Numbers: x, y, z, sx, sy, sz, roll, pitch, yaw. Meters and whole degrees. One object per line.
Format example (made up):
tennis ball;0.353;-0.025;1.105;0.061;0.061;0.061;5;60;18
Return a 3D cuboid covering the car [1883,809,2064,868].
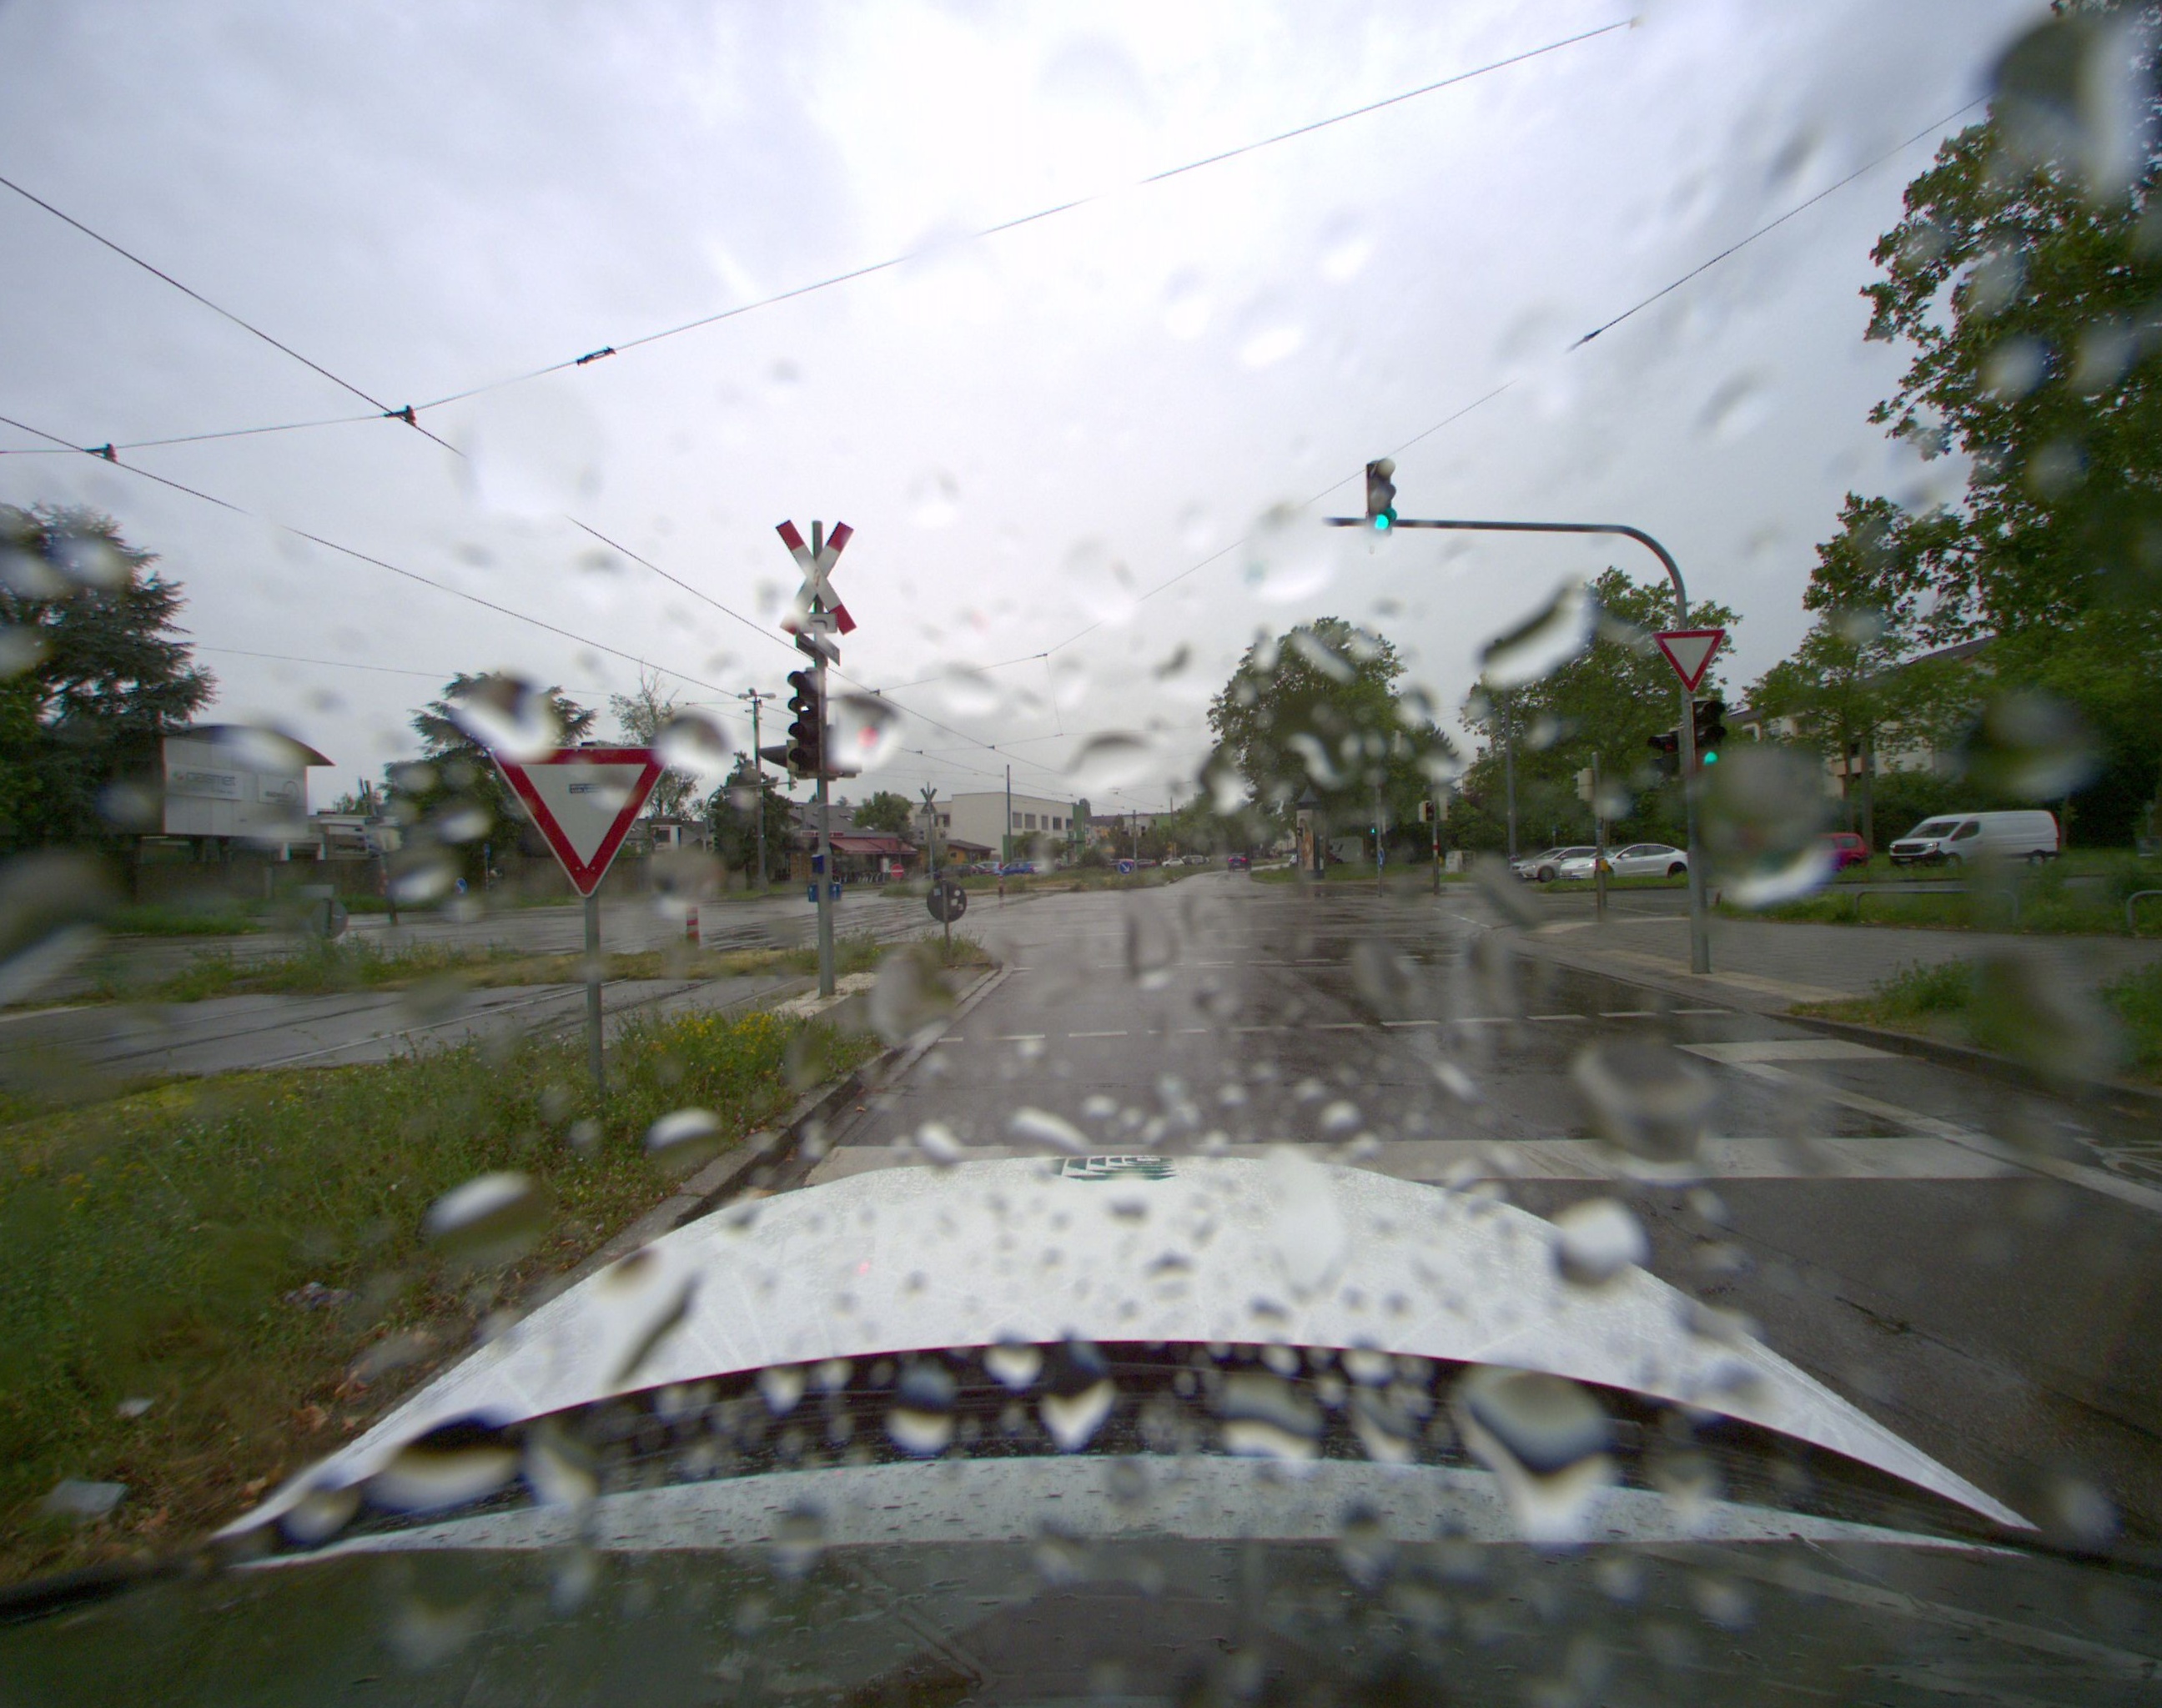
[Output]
car;37.804;-0.641;34.593;5.589;2.392;1.999;0;-1;-2

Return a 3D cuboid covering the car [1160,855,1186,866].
car;14.252;0.959;126.456;3.772;1.702;1.832;0;-1;-8

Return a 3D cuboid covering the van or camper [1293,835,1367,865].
van or camper;27.270;-0.385;89.221;7.359;3.178;3.281;-1;-1;24

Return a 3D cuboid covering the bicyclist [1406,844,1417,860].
bicyclist;30.223;-0.173;74.477;0.854;1.425;0.961;-1;-1;21

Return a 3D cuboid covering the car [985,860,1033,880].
car;-6.220;1.372;70.043;3.986;1.582;1.924;-2;-1;-9

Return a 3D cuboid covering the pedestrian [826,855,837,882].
pedestrian;-18.755;1.062;61.260;0.726;2.014;0.789;0;-1;-21

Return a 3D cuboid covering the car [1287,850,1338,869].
car;21.993;0.509;77.240;4.405;1.717;2.011;-1;-1;23

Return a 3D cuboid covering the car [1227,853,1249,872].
car;14.893;0.802;77.238;1.793;1.686;3.927;-1;-1;15

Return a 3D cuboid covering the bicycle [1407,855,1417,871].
bicycle;30.114;0.794;74.164;0.854;1.425;2.717;-1;-1;22

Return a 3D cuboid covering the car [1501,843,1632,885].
car;20.218;0.418;34.015;4.385;1.691;1.931;0;-1;-5

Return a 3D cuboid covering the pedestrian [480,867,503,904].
pedestrian;-29.282;1.556;40.438;0.890;1.797;0.719;0;0;-33

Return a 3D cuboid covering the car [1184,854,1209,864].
car;20.429;0.859;144.617;3.986;1.759;2.004;0;-1;-10

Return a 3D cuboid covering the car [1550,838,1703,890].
car;20.484;0.368;30.678;4.585;1.828;1.931;0;-1;-5

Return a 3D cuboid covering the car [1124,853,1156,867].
car;7.973;0.850;110.101;3.980;1.887;1.997;0;-1;-5

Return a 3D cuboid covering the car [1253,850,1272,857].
car;44.065;-0.129;197.906;3.977;1.832;1.998;0;-1;-3

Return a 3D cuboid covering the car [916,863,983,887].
car;-9.548;1.518;59.371;4.459;1.418;1.860;-3;-1;3

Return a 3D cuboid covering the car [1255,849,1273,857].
car;45.512;-0.302;202.610;3.977;1.832;1.998;0;-1;-3

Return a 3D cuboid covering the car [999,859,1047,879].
car;-5.213;1.362;73.203;4.112;1.641;1.922;-1;-1;-12

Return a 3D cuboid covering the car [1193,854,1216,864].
car;23.250;0.874;153.519;3.986;1.832;1.994;0;-1;-10

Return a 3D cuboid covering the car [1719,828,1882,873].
car;26.993;-0.134;30.659;4.589;1.607;1.790;0;-1;-1

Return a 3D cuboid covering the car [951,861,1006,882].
car;-8.176;1.403;65.051;3.966;1.582;1.862;-2;-1;6

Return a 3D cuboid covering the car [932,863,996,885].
car;-8.851;1.534;61.763;4.478;1.418;1.860;-3;-1;3

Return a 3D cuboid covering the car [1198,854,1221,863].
car;24.988;0.902;158.550;3.977;1.832;1.998;0;-1;-3

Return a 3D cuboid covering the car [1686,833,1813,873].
car;28.199;-0.037;34.409;4.048;1.607;1.788;0;-1;-5

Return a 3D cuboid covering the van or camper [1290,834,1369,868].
van or camper;24.457;-0.227;80.081;7.261;3.178;3.278;-1;-1;20
